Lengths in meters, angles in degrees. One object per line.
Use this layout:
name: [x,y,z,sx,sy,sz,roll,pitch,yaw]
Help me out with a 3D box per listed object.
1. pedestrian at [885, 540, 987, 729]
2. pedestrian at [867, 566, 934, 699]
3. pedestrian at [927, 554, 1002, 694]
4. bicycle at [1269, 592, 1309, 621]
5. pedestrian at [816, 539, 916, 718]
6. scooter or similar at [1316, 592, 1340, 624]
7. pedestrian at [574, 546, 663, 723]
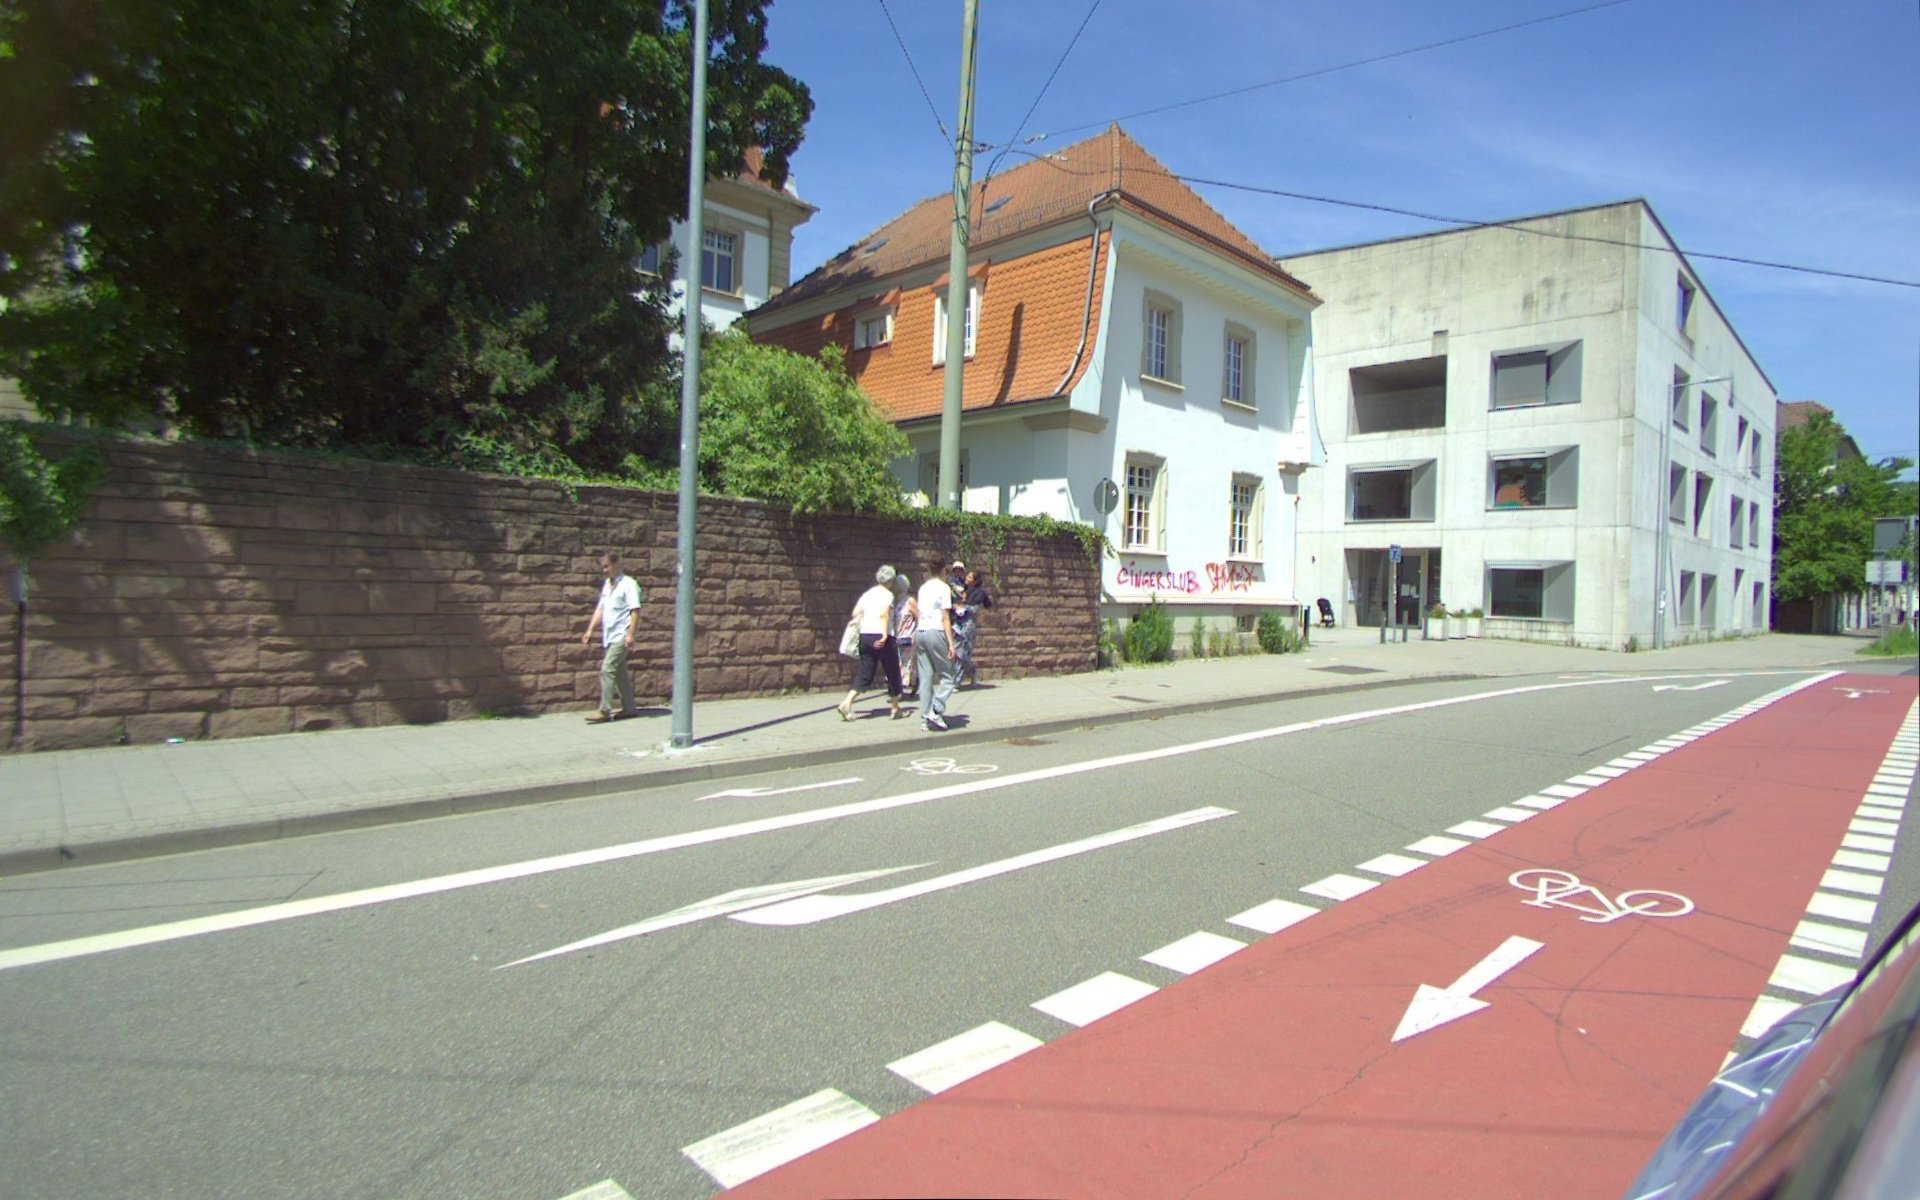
pedestrian: [-0.248,0.329,10.307,0.734,1.830,0.678,1,1,-40]
pedestrian: [-0.717,0.381,12.228,0.587,1.552,0.517,1,1,-39]
pedestrian: [0.054,0.298,13.557,0.618,1.794,0.717,0,4,-43]
bicycle: [12.115,0.214,37.216,0.650,1.016,2.169,2,1,39]
pedestrian: [-1.016,0.283,10.885,0.687,1.830,0.816,1,1,-40]
scooter or similar: [13.379,0.281,36.761,0.532,1.154,0.950,1,1,40]
pedestrian: [-3.379,0.317,9.997,0.613,1.668,0.662,1,1,-39]
